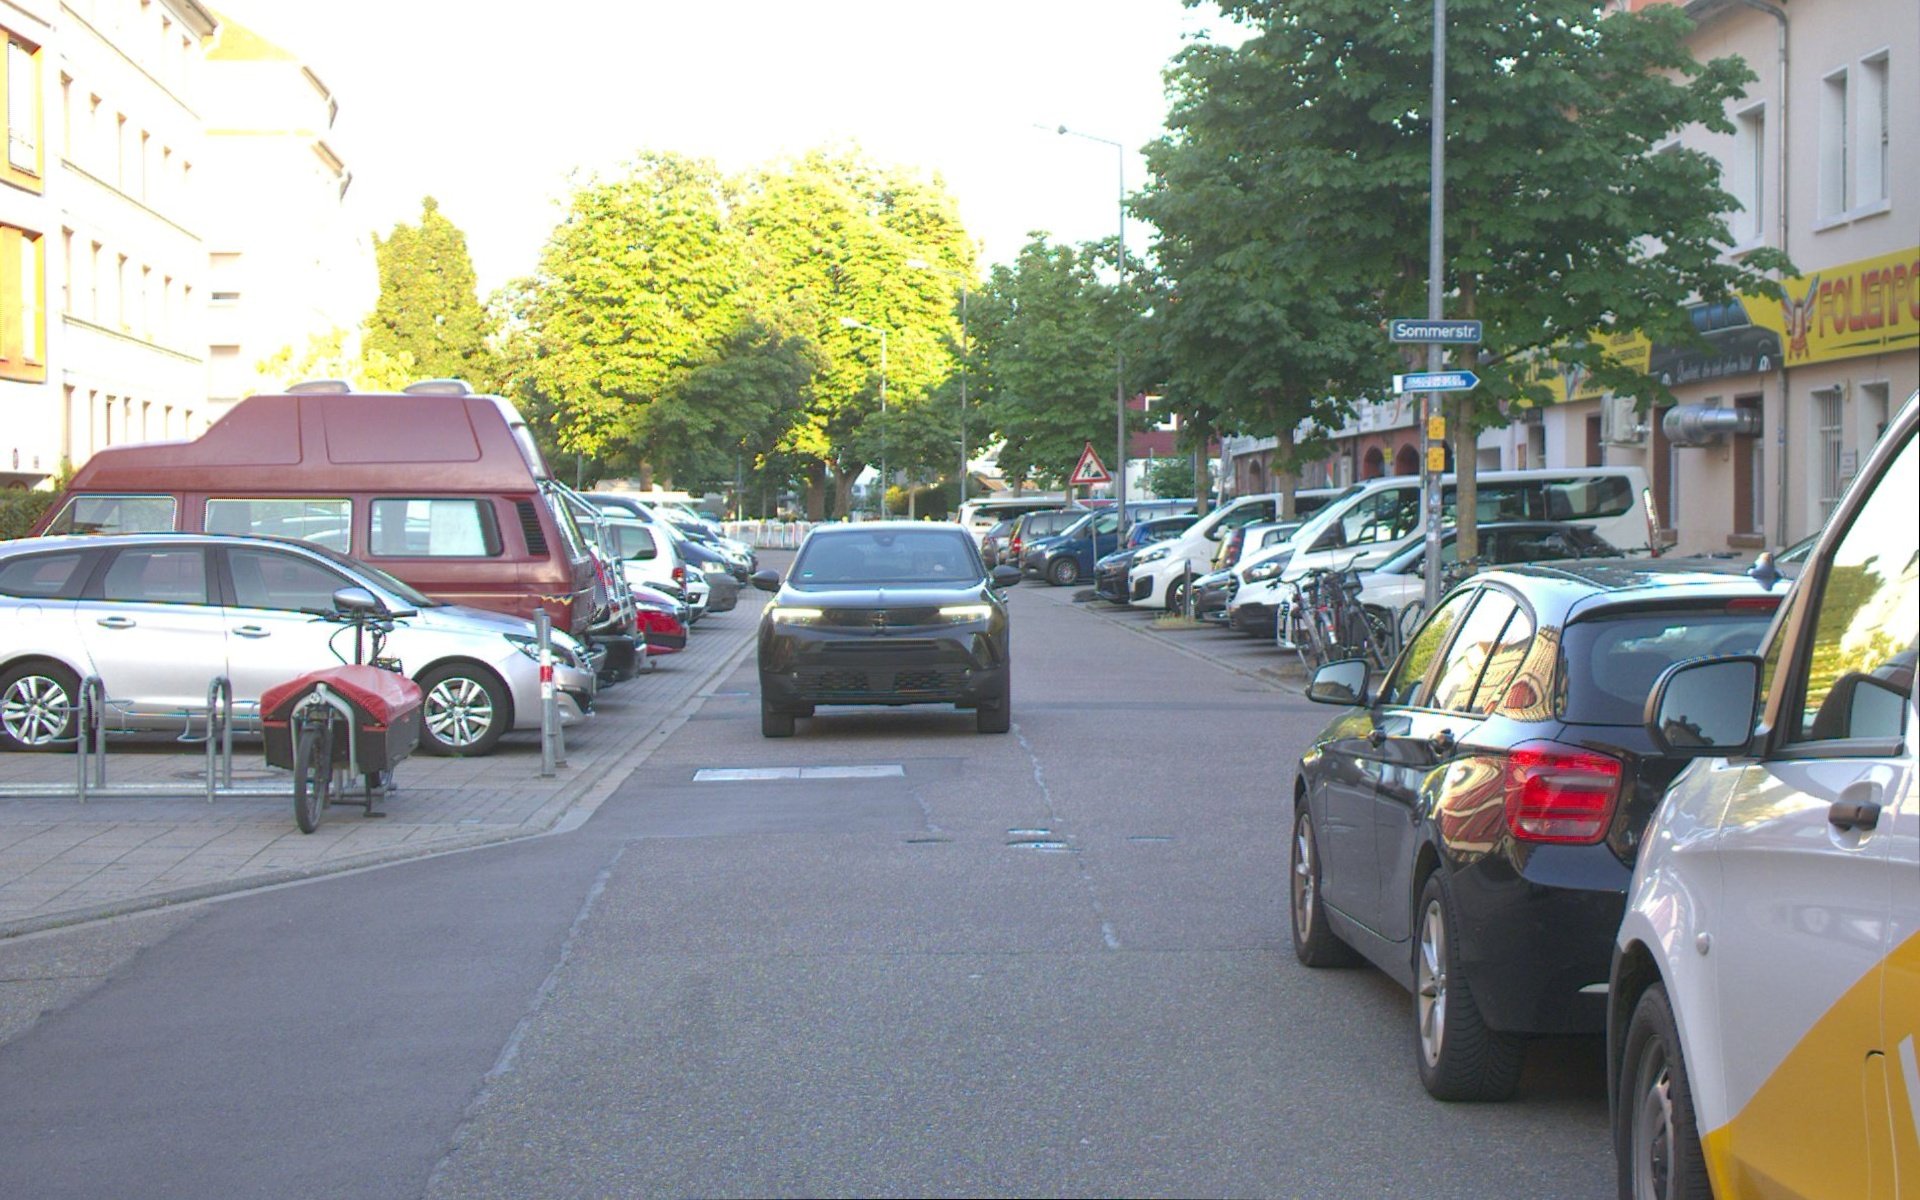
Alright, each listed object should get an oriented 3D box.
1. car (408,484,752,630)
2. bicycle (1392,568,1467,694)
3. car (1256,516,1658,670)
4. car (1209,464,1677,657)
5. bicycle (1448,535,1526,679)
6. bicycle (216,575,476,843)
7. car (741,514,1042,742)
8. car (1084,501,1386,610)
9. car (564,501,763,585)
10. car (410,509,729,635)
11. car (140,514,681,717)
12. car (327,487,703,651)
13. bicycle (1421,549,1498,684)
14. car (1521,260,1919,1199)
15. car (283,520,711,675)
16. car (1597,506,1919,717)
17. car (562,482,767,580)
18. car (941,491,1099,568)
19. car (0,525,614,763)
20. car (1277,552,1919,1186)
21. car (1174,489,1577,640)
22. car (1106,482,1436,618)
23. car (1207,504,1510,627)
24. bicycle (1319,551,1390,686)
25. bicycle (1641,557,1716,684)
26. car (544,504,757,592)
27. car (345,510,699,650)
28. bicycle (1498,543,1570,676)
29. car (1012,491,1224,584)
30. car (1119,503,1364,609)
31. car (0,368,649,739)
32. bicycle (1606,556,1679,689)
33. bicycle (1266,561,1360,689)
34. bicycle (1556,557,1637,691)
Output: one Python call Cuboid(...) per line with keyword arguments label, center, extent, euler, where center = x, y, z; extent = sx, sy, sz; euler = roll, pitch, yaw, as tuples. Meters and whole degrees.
Cuboid(label="car", center=(-5.559, -0.643, 50.771), extent=(4.850, 2.014, 1.907), euler=(1, 1, -1))
Cuboid(label="bicycle", center=(4.427, 0.275, 32.508), extent=(0.386, 1.110, 2.017), euler=(-1, 2, -1))
Cuboid(label="car", center=(5.249, -0.097, 36.632), extent=(3.918, 1.446, 1.769), euler=(-2, 2, -3))
Cuboid(label="car", center=(5.464, -0.467, 39.412), extent=(4.990, 1.976, 2.220), euler=(-2, 1, 0))
Cuboid(label="bicycle", center=(4.970, 0.046, 32.502), extent=(0.386, 1.300, 2.017), euler=(-1, 2, -1))
Cuboid(label="bicycle", center=(-3.151, 0.514, 17.948), extent=(0.808, 1.217, 2.865), euler=(1, 1, 0))
Cuboid(label="car", center=(-0.421, 0.144, 25.345), extent=(1.780, 1.512, 4.000), euler=(-1, 1, 5))
Cuboid(label="car", center=(4.715, -0.785, 59.514), extent=(4.943, 1.683, 2.077), euler=(-2, 1, -2))
Cuboid(label="car", center=(-6.587, -1.279, 76.627), extent=(4.256, 1.743, 2.000), euler=(1, 1, -1))
Cuboid(label="car", center=(-5.437, -0.410, 48.222), extent=(4.256, 1.646, 1.888), euler=(1, 1, -1))
Cuboid(label="car", center=(-4.462, 0.103, 28.376), extent=(4.208, 1.532, 1.791), euler=(1, 1, -3))
Cuboid(label="car", center=(-5.300, -0.386, 41.392), extent=(4.256, 1.830, 2.000), euler=(1, 1, -1))
Cuboid(label="bicycle", center=(4.710, 0.137, 32.493), extent=(0.386, 1.196, 2.017), euler=(-1, 2, -1))
Cuboid(label="car", center=(2.196, 0.497, 4.669), extent=(1.893, 1.877, 5.083), euler=(0, 1, -2))
Cuboid(label="car", center=(-4.785, -0.044, 35.982), extent=(4.209, 1.484, 1.850), euler=(1, 1, 0))
Cuboid(label="car", center=(7.258, 0.048, 27.288), extent=(4.050, 1.509, 1.756), euler=(-1, 3, 0))
Cuboid(label="car", center=(-6.783, -1.602, 79.256), extent=(4.533, 2.127, 2.000), euler=(1, 1, -1))
Cuboid(label="car", center=(1.596, -1.900, 92.555), extent=(3.967, 1.905, 2.050), euler=(-2, 1, -5))
Cuboid(label="car", center=(-4.699, 0.266, 23.230), extent=(4.615, 1.455, 1.881), euler=(1, 1, -4))
Cuboid(label="car", center=(2.055, 0.612, 10.197), extent=(1.721, 1.419, 4.254), euler=(1, 1, -1))
Cuboid(label="car", center=(5.349, -0.477, 44.757), extent=(4.944, 1.736, 2.049), euler=(-2, 1, 0))
Cuboid(label="car", center=(4.910, -0.803, 54.709), extent=(4.943, 1.951, 2.049), euler=(-2, 1, -2))
Cuboid(label="car", center=(5.452, -0.489, 47.392), extent=(3.911, 1.521, 1.939), euler=(-2, 1, 0))
Cuboid(label="bicycle", center=(3.714, 0.157, 32.468), extent=(0.386, 1.196, 2.017), euler=(-1, 2, -1))
Cuboid(label="bicycle", center=(6.765, 0.178, 32.400), extent=(0.353, 1.139, 1.481), euler=(-1, 1, -1))
Cuboid(label="car", center=(-6.439, -1.095, 71.858), extent=(4.256, 1.709, 2.000), euler=(1, 1, -1))
Cuboid(label="car", center=(-5.535, -0.272, 43.867), extent=(4.256, 1.654, 2.000), euler=(1, 1, -1))
Cuboid(label="bicycle", center=(5.394, 0.078, 32.349), extent=(0.386, 1.196, 1.481), euler=(-1, 1, -1))
Cuboid(label="car", center=(3.517, -1.411, 76.979), extent=(4.478, 1.905, 1.688), euler=(-2, 1, -5))
Cuboid(label="car", center=(5.247, -0.832, 64.425), extent=(4.316, 1.798, 1.811), euler=(-2, 1, -2))
Cuboid(label="car", center=(-4.712, -0.360, 25.794), extent=(4.511, 2.575, 2.000), euler=(1, 1, 1))
Cuboid(label="bicycle", center=(6.405, 0.194, 32.317), extent=(0.353, 1.196, 1.481), euler=(-1, 1, -1))
Cuboid(label="bicycle", center=(3.301, 0.220, 32.280), extent=(0.438, 1.126, 2.018), euler=(-1, 2, -6))
Cuboid(label="bicycle", center=(5.976, 0.211, 32.324), extent=(0.445, 1.196, 1.481), euler=(-1, 1, -1))
